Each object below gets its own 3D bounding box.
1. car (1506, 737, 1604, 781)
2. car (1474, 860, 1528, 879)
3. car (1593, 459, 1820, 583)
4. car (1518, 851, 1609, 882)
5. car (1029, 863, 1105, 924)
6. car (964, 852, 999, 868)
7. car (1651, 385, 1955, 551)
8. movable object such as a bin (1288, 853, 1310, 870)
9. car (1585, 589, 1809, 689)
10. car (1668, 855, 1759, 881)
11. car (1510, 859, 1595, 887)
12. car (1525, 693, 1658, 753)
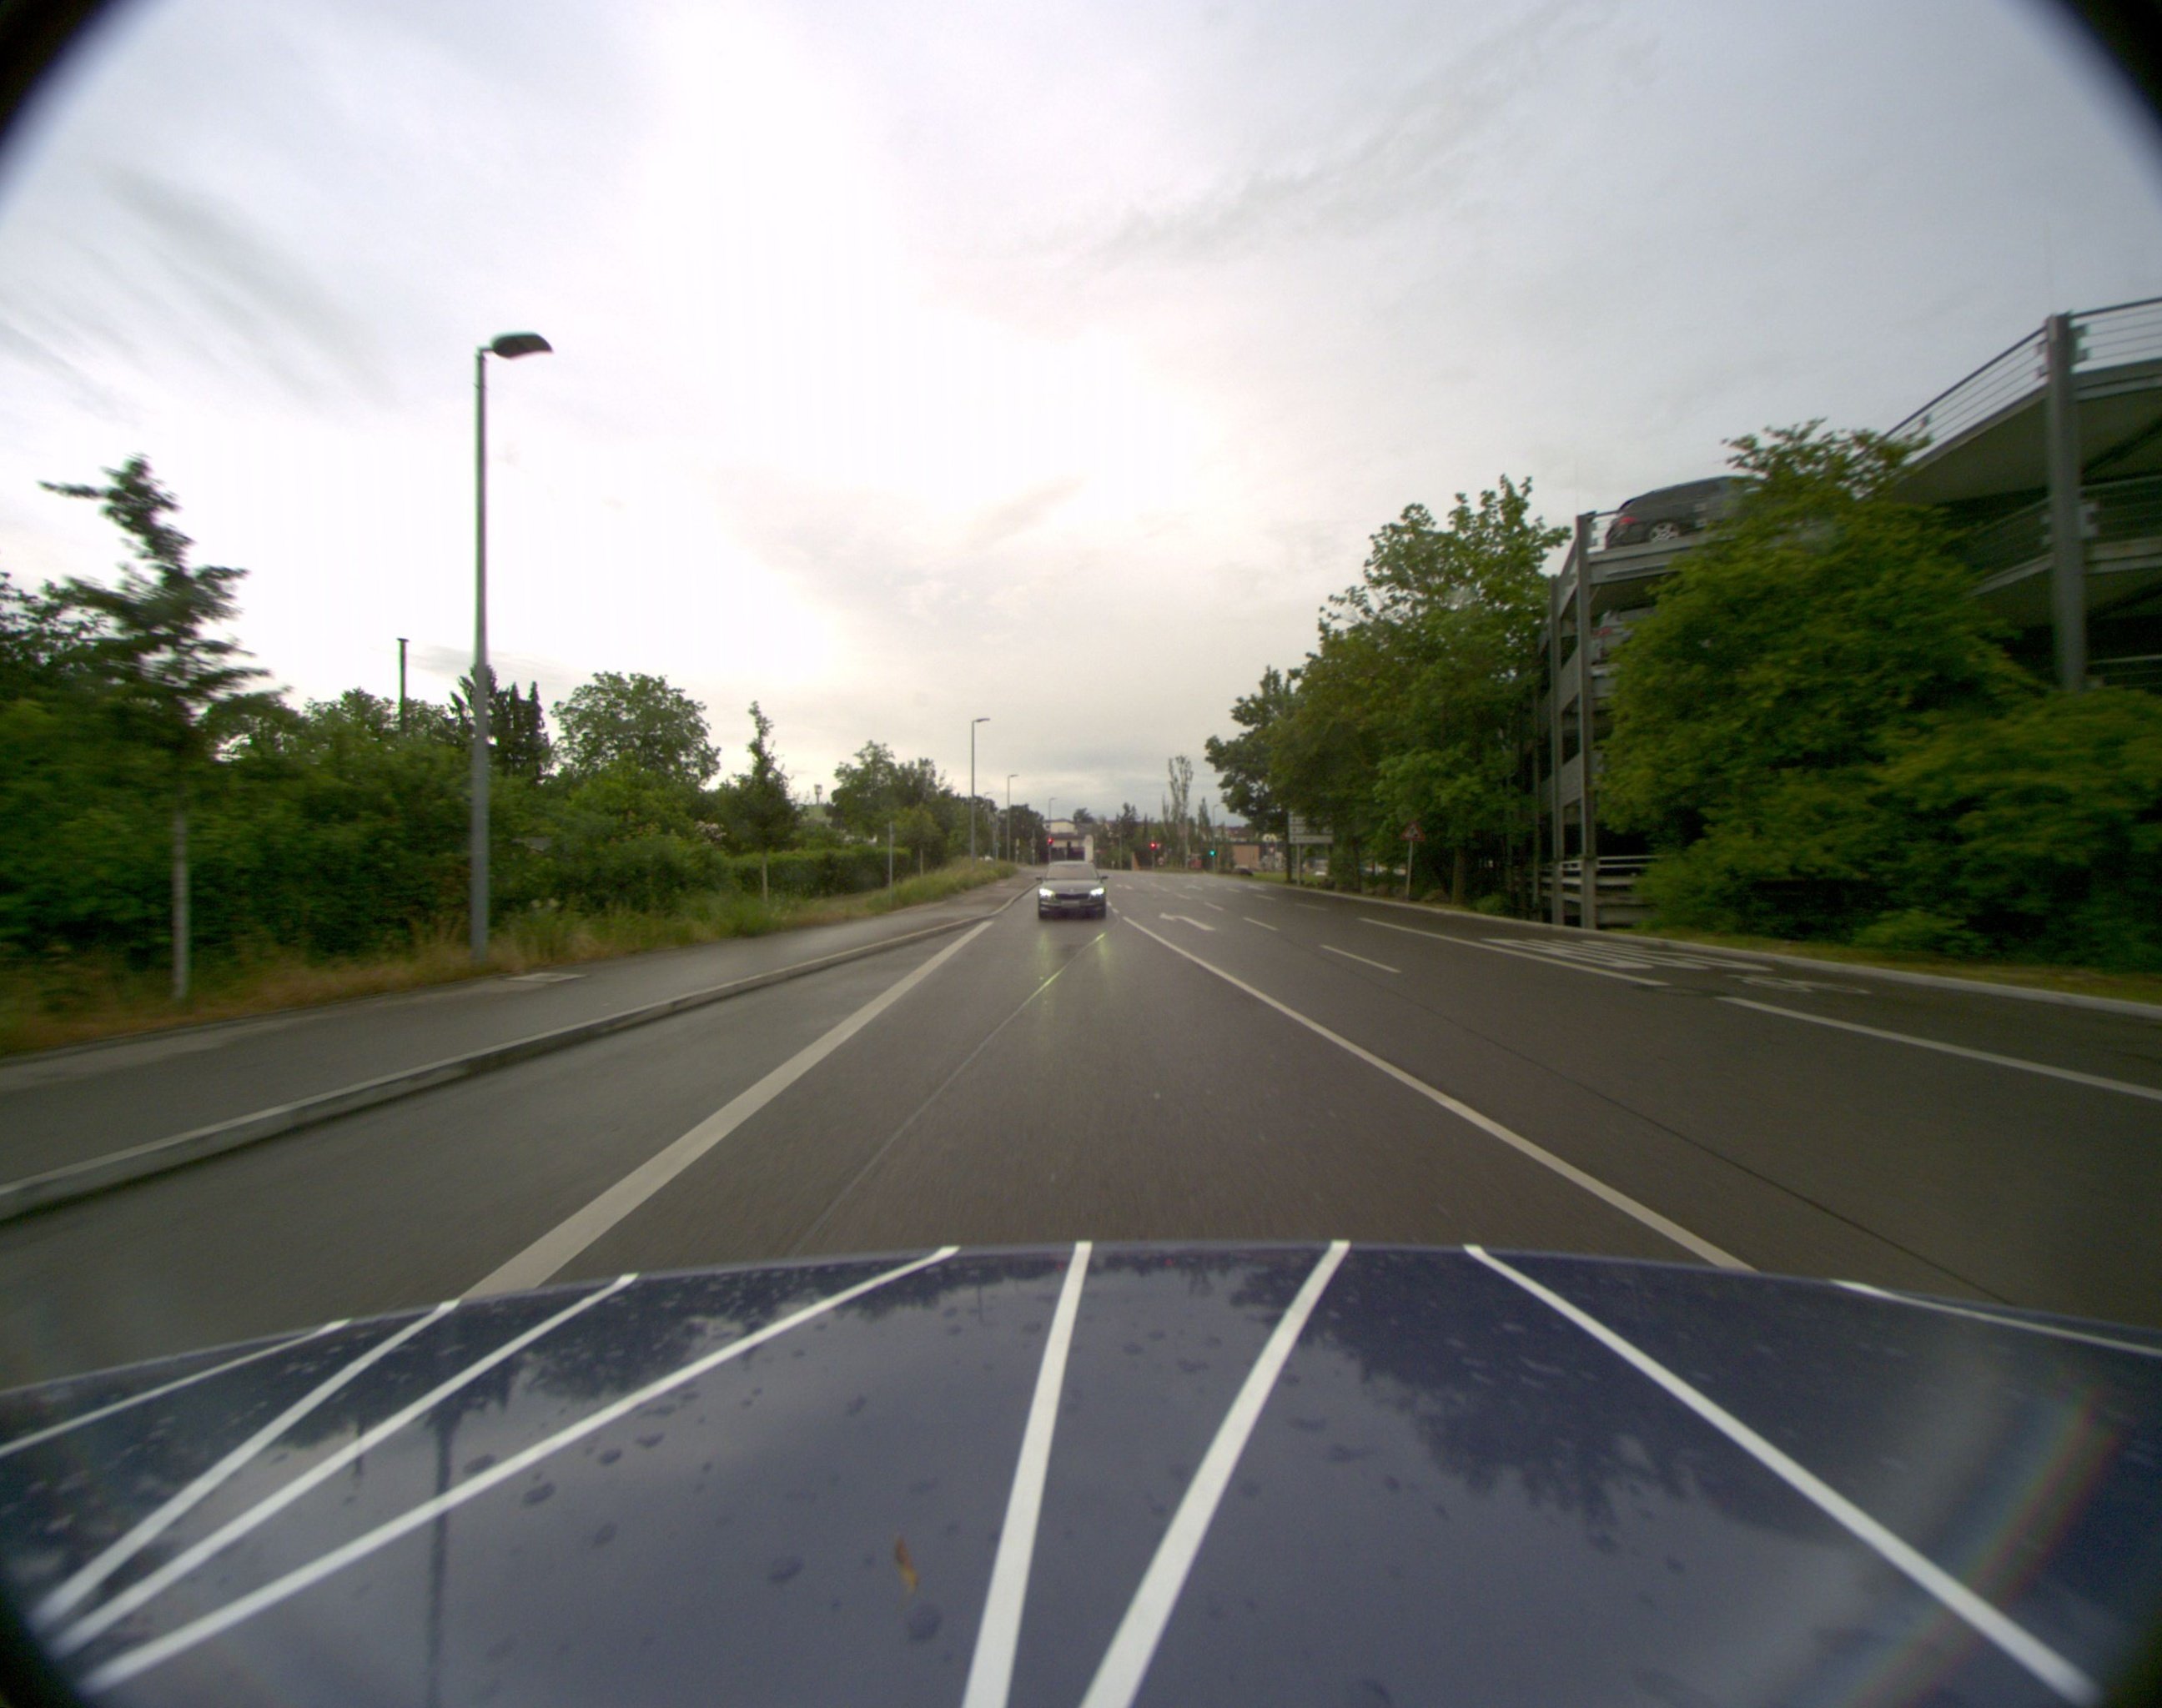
[{"bbox_3d":[23.493,-4.683,37.847,3.990,1.510,2.004,-3,-1,28],"label":"car"},{"bbox_3d":[35.933,1.286,65.150,3.989,1.510,2.004,1,0,28],"label":"car"},{"bbox_3d":[15.214,-8.094,18.812,3.989,1.510,2.004,1,0,28],"label":"car"},{"bbox_3d":[26.148,0.656,41.340,3.989,1.510,2.004,1,0,28],"label":"car"},{"bbox_3d":[-0.310,1.008,21.061,1.839,1.448,4.203,-2,-1,1],"label":"car"},{"bbox_3d":[-11.847,0.739,90.288,4.050,1.596,1.826,4,5,37],"label":"car"},{"bbox_3d":[14.063,-7.511,15.182,3.989,1.510,2.004,1,0,28],"label":"car"},{"bbox_3d":[36.459,1.290,126.966,2.997,2.611,1.929,3,-1,0],"label":"movable object such as a bin"},{"bbox_3d":[15.045,-5.236,18.900,3.989,1.510,2.004,1,0,28],"label":"car"},{"bbox_3d":[39.982,0.855,48.175,3.990,1.510,2.003,1,0,22],"label":"car"},{"bbox_3d":[27.240,1.058,44.052,3.989,1.510,2.004,1,0,27],"label":"car"},{"bbox_3d":[19.397,-4.938,29.089,3.990,1.510,2.004,-3,-1,28],"label":"car"}]
